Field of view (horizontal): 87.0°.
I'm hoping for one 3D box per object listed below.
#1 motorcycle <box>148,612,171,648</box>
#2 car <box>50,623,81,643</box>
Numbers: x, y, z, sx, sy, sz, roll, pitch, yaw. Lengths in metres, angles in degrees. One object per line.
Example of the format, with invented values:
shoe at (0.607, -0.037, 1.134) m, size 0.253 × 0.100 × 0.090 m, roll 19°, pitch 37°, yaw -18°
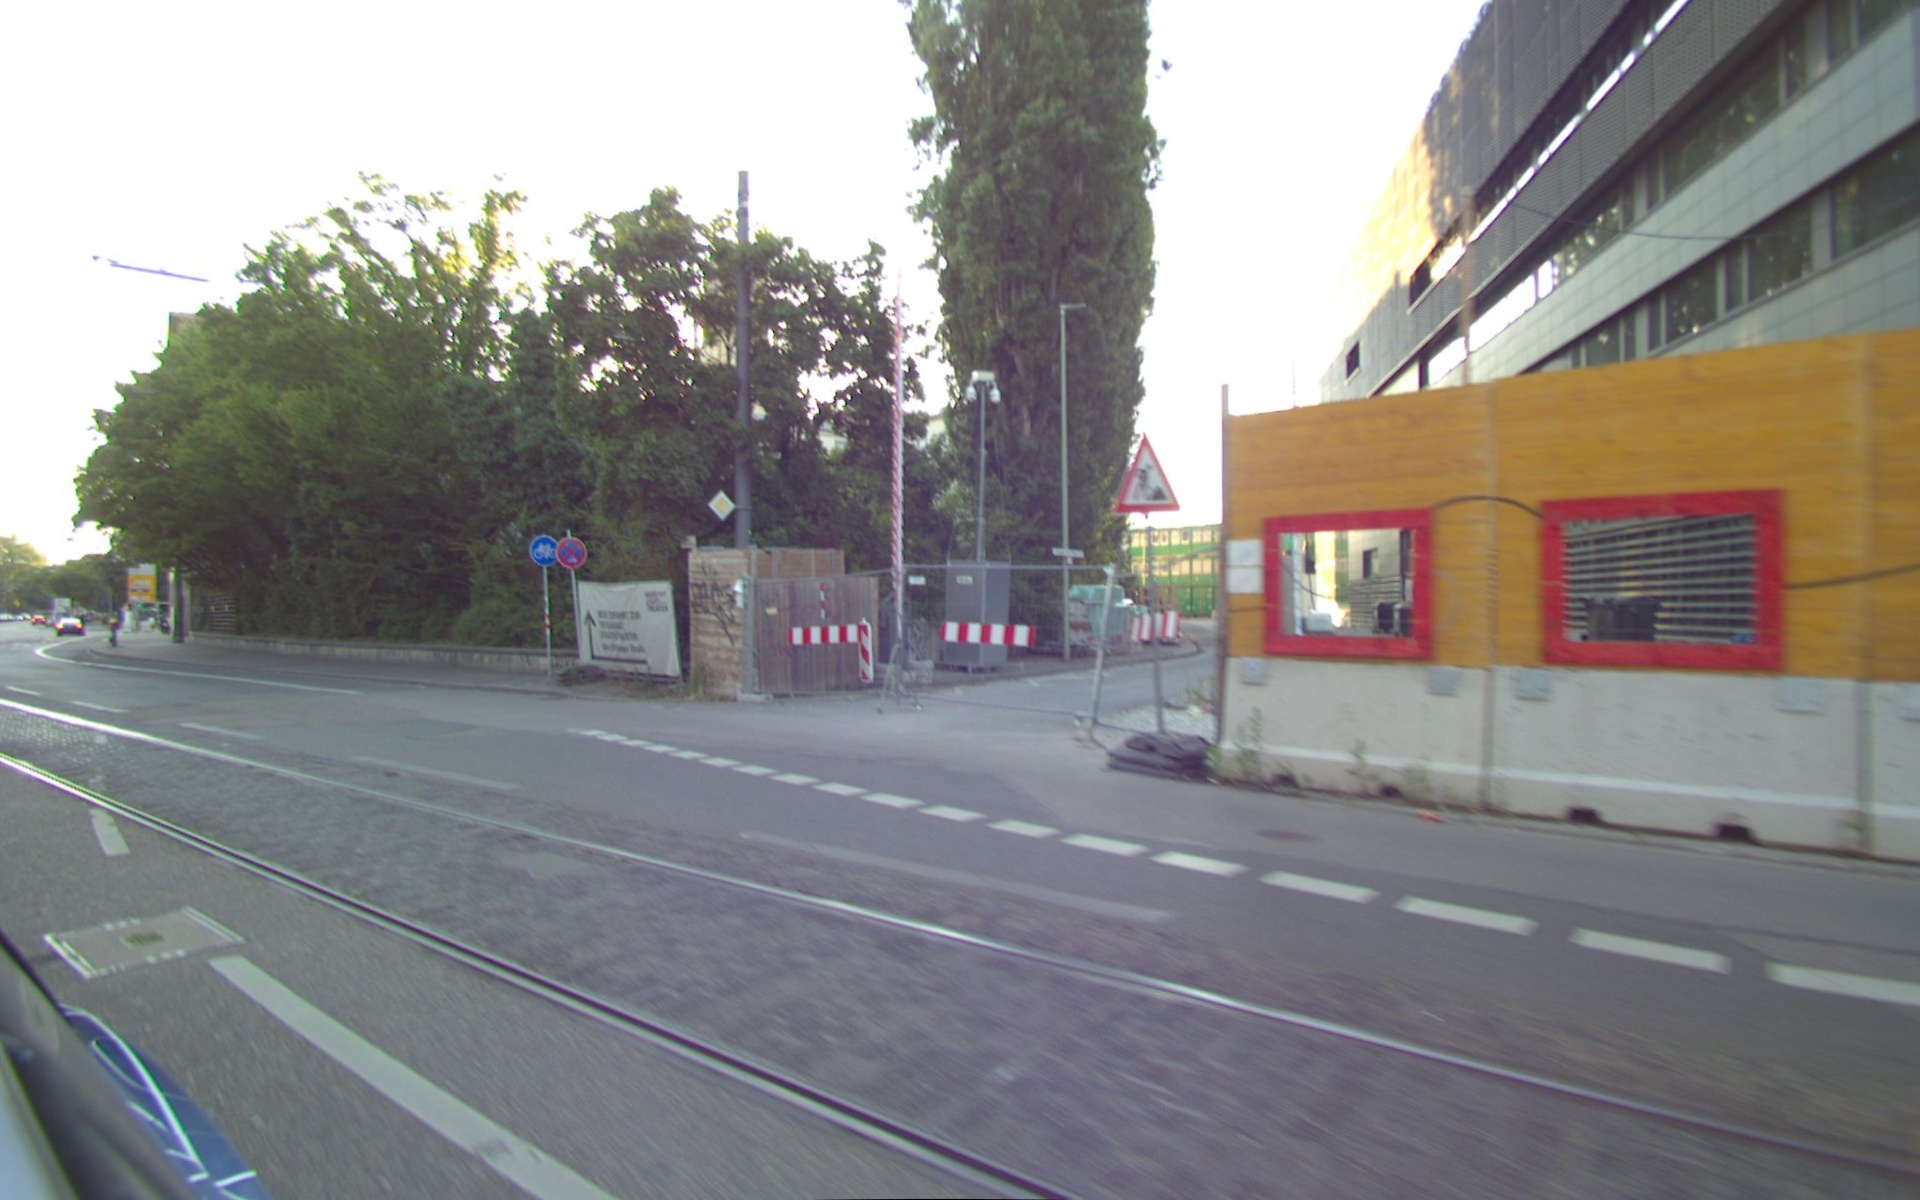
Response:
motorcycle at (-55.811, 2.060, 70.562) m, size 1.008 × 2.461 × 2.670 m, roll 0°, pitch -1°, yaw -44°
car at (-78.918, 2.860, 89.275) m, size 1.969 × 1.697 × 4.005 m, roll 0°, pitch -1°, yaw -42°
